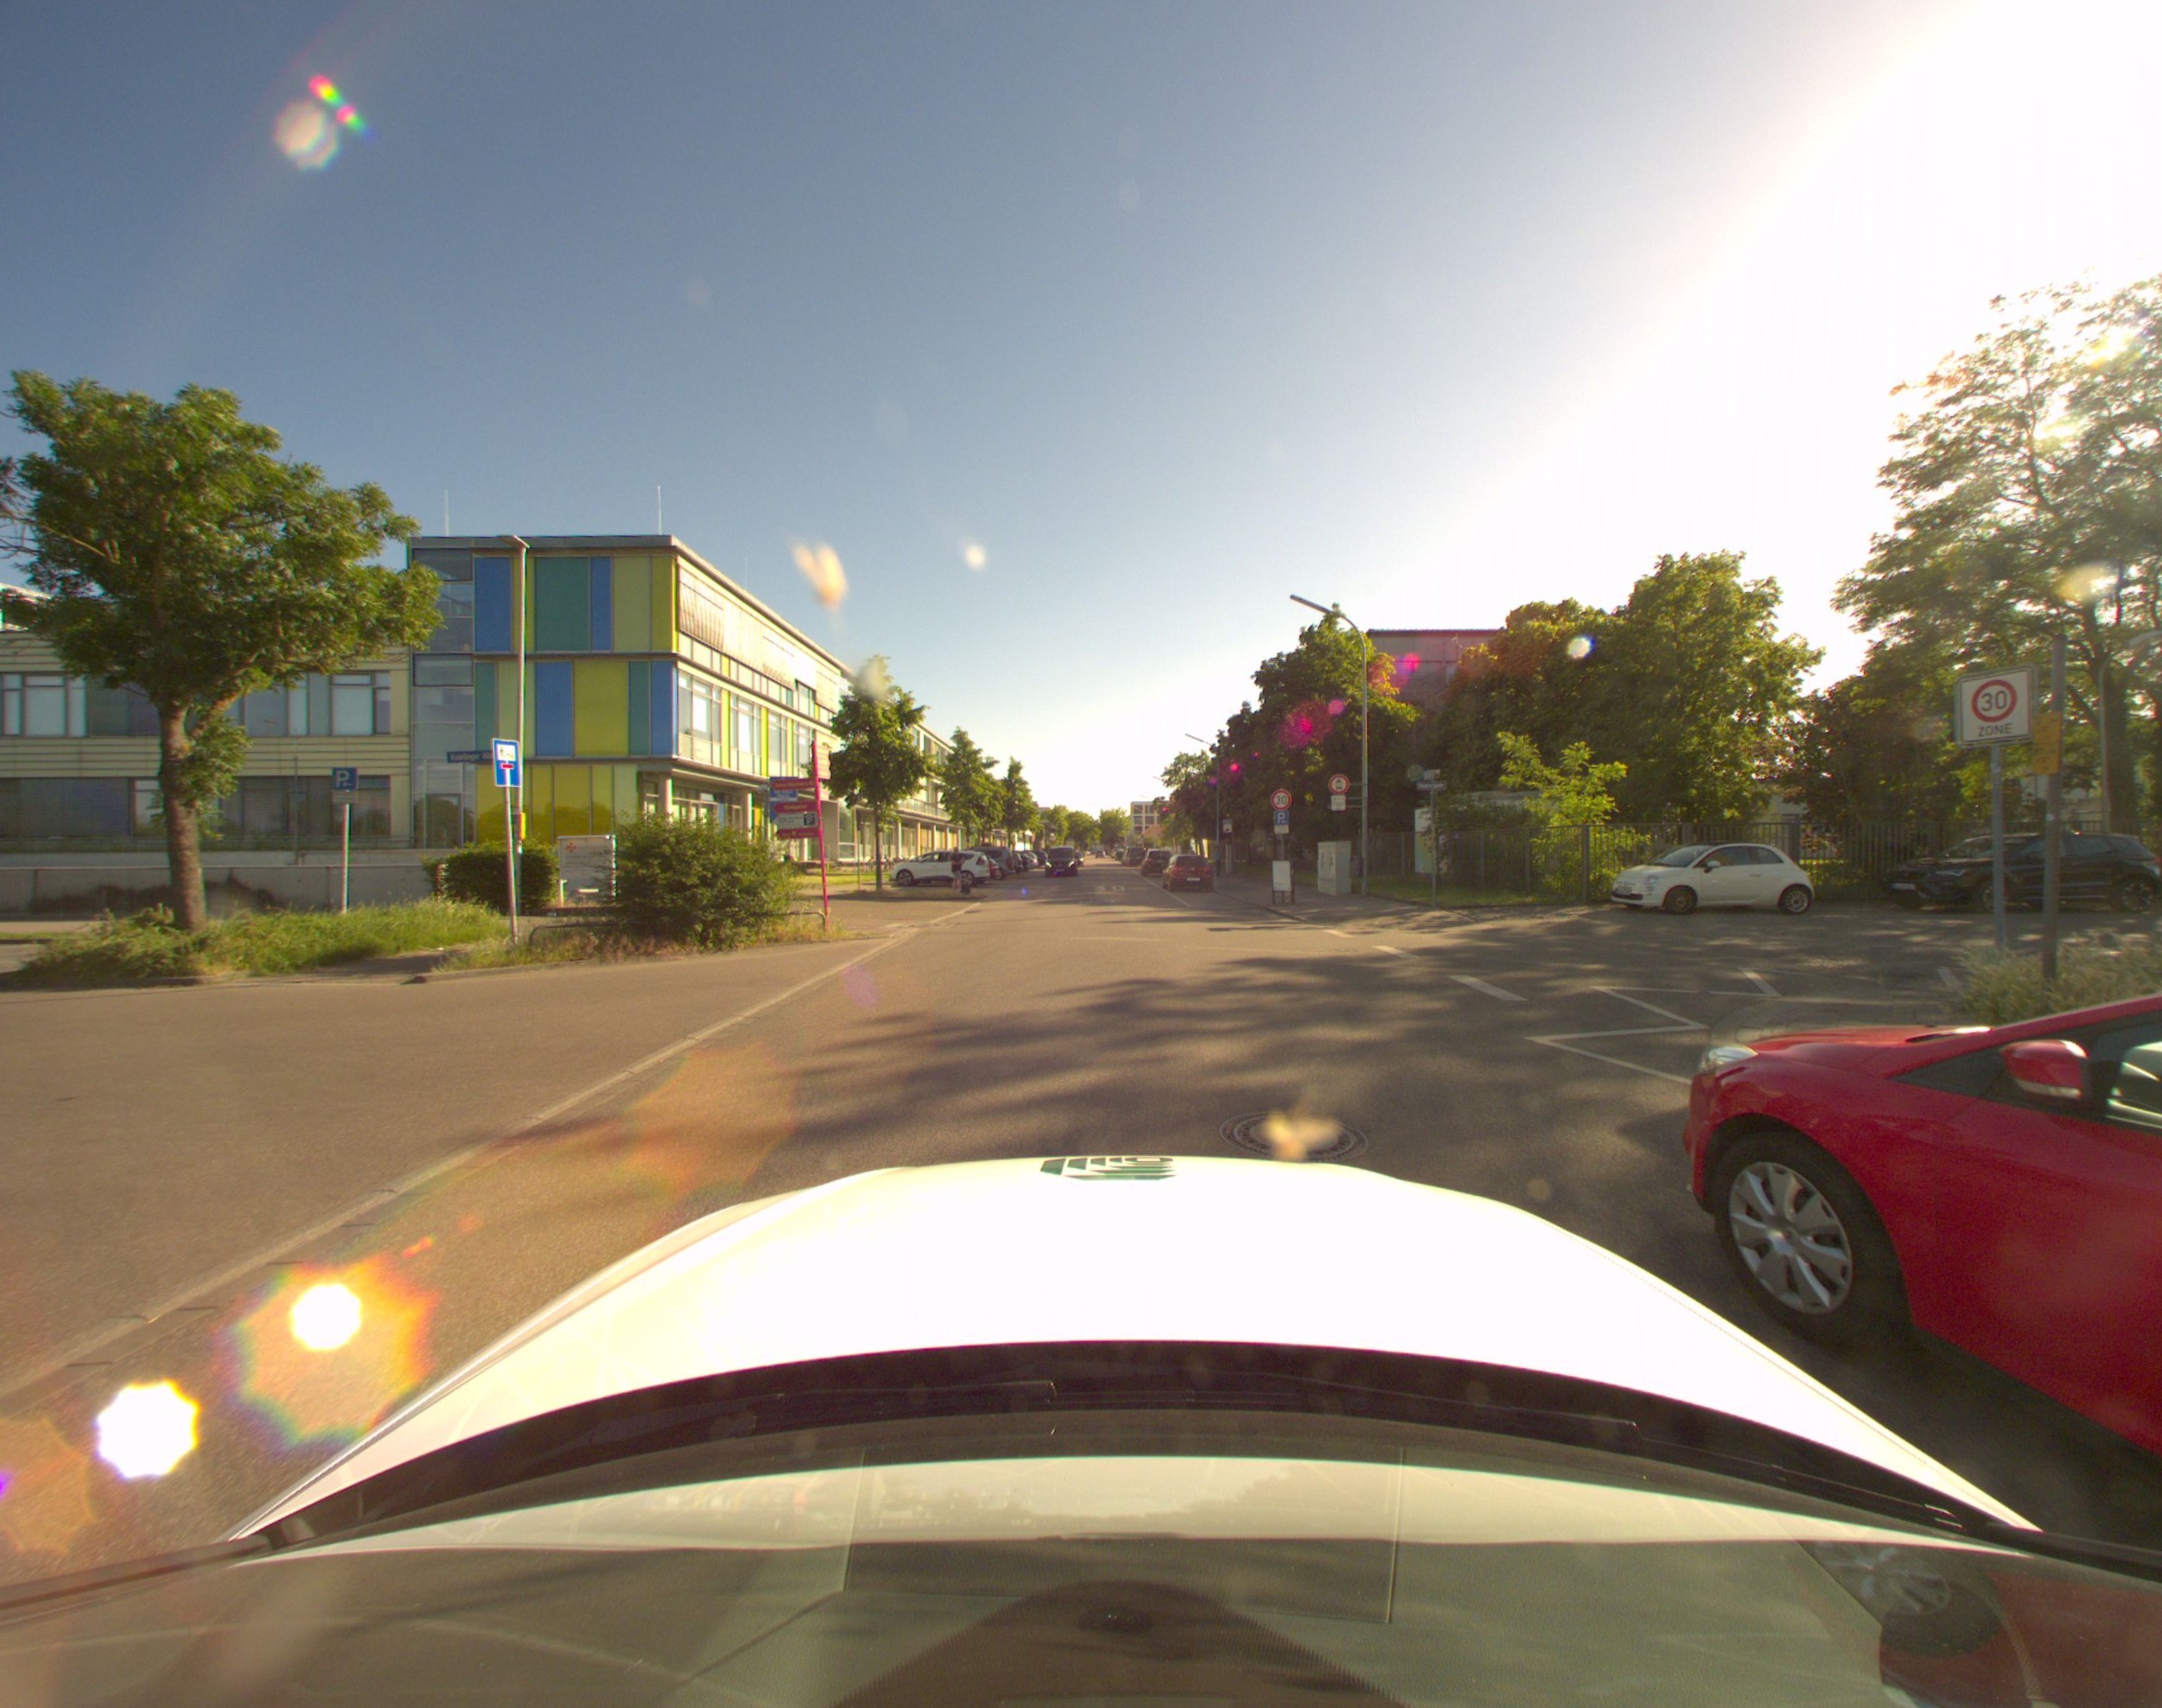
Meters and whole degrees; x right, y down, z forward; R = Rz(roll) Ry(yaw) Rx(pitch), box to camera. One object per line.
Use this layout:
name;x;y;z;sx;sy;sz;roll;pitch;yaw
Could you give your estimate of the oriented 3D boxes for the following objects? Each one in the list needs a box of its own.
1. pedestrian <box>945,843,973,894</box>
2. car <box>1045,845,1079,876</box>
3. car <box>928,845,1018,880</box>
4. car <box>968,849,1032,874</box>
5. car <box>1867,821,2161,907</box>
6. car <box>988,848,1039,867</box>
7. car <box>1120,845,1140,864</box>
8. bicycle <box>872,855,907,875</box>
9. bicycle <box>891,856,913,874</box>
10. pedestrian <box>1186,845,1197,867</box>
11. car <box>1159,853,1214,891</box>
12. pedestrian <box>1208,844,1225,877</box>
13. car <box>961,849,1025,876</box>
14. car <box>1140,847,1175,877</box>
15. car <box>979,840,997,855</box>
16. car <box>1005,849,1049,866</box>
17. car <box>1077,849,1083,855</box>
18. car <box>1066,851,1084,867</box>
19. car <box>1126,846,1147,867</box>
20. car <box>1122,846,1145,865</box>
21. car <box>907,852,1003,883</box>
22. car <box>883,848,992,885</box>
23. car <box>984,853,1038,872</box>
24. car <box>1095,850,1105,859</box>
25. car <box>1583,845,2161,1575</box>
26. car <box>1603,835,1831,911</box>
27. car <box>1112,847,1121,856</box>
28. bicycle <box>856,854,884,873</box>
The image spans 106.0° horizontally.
pedestrian;-4.511;0.521;30.147;0.854;1.842;0.826;1;0;2
car;-1.142;0.376;51.548;1.948;1.867;5.255;0;0;1
car;-6.009;0.442;45.778;4.725;1.865;1.828;1;0;1
car;-5.520;0.488;55.725;4.236;1.611;2.046;1;0;-3
car;19.054;0.189;16.698;4.137;1.637;1.756;-1;0;1
car;-5.667;0.293;68.537;4.204;1.462;1.870;1;0;-3
car;5.243;0.022;87.036;1.868;1.978;4.001;-2;0;1
bicycle;-11.900;0.686;50.639;0.861;1.153;2.385;1;0;22
bicycle;-11.938;0.710;54.432;0.888;1.111;1.892;1;1;5
pedestrian;8.635;0.186;63.458;0.696;1.661;0.752;-3;0;0
car;4.262;0.688;33.545;1.714;1.454;4.652;1;0;0
pedestrian;7.289;0.343;43.837;0.715;1.758;0.885;-3;0;1
car;-5.650;0.539;52.771;3.978;1.607;1.870;1;0;-3
car;4.612;0.442;49.585;1.805;1.666;4.595;1;1;2
car;-13.405;-0.896;117.370;1.987;2.014;4.000;0;-1;1
car;-5.185;0.355;78.540;4.204;1.603;1.870;1;0;-3
car;-0.375;-0.510;228.539;1.722;1.536;3.999;-1;0;-1
car;-0.588;0.467;81.434;1.697;1.451;4.087;-2;0;1
car;5.060;0.212;74.547;1.726;1.830;3.906;-1;0;1
car;5.173;0.148;80.789;1.987;1.823;4.199;-2;0;1
car;-6.207;0.657;40.332;4.418;1.501;1.828;0;0;1
car;-6.542;0.583;37.503;4.591;1.651;1.870;0;0;4
car;-5.266;0.609;61.369;3.978;1.358;1.741;1;0;-3
car;3.285;0.070;143.340;1.737;1.543;4.001;0;0;1
car;3.125;0.735;1.412;1.813;1.499;4.452;0;0;0
car;13.271;0.387;17.149;3.533;1.486;1.601;-1;0;1
car;5.960;-0.409;135.598;1.431;1.560;3.042;-1;0;1
bicycle;-13.259;0.577;51.234;0.863;1.153;1.998;1;0;10
